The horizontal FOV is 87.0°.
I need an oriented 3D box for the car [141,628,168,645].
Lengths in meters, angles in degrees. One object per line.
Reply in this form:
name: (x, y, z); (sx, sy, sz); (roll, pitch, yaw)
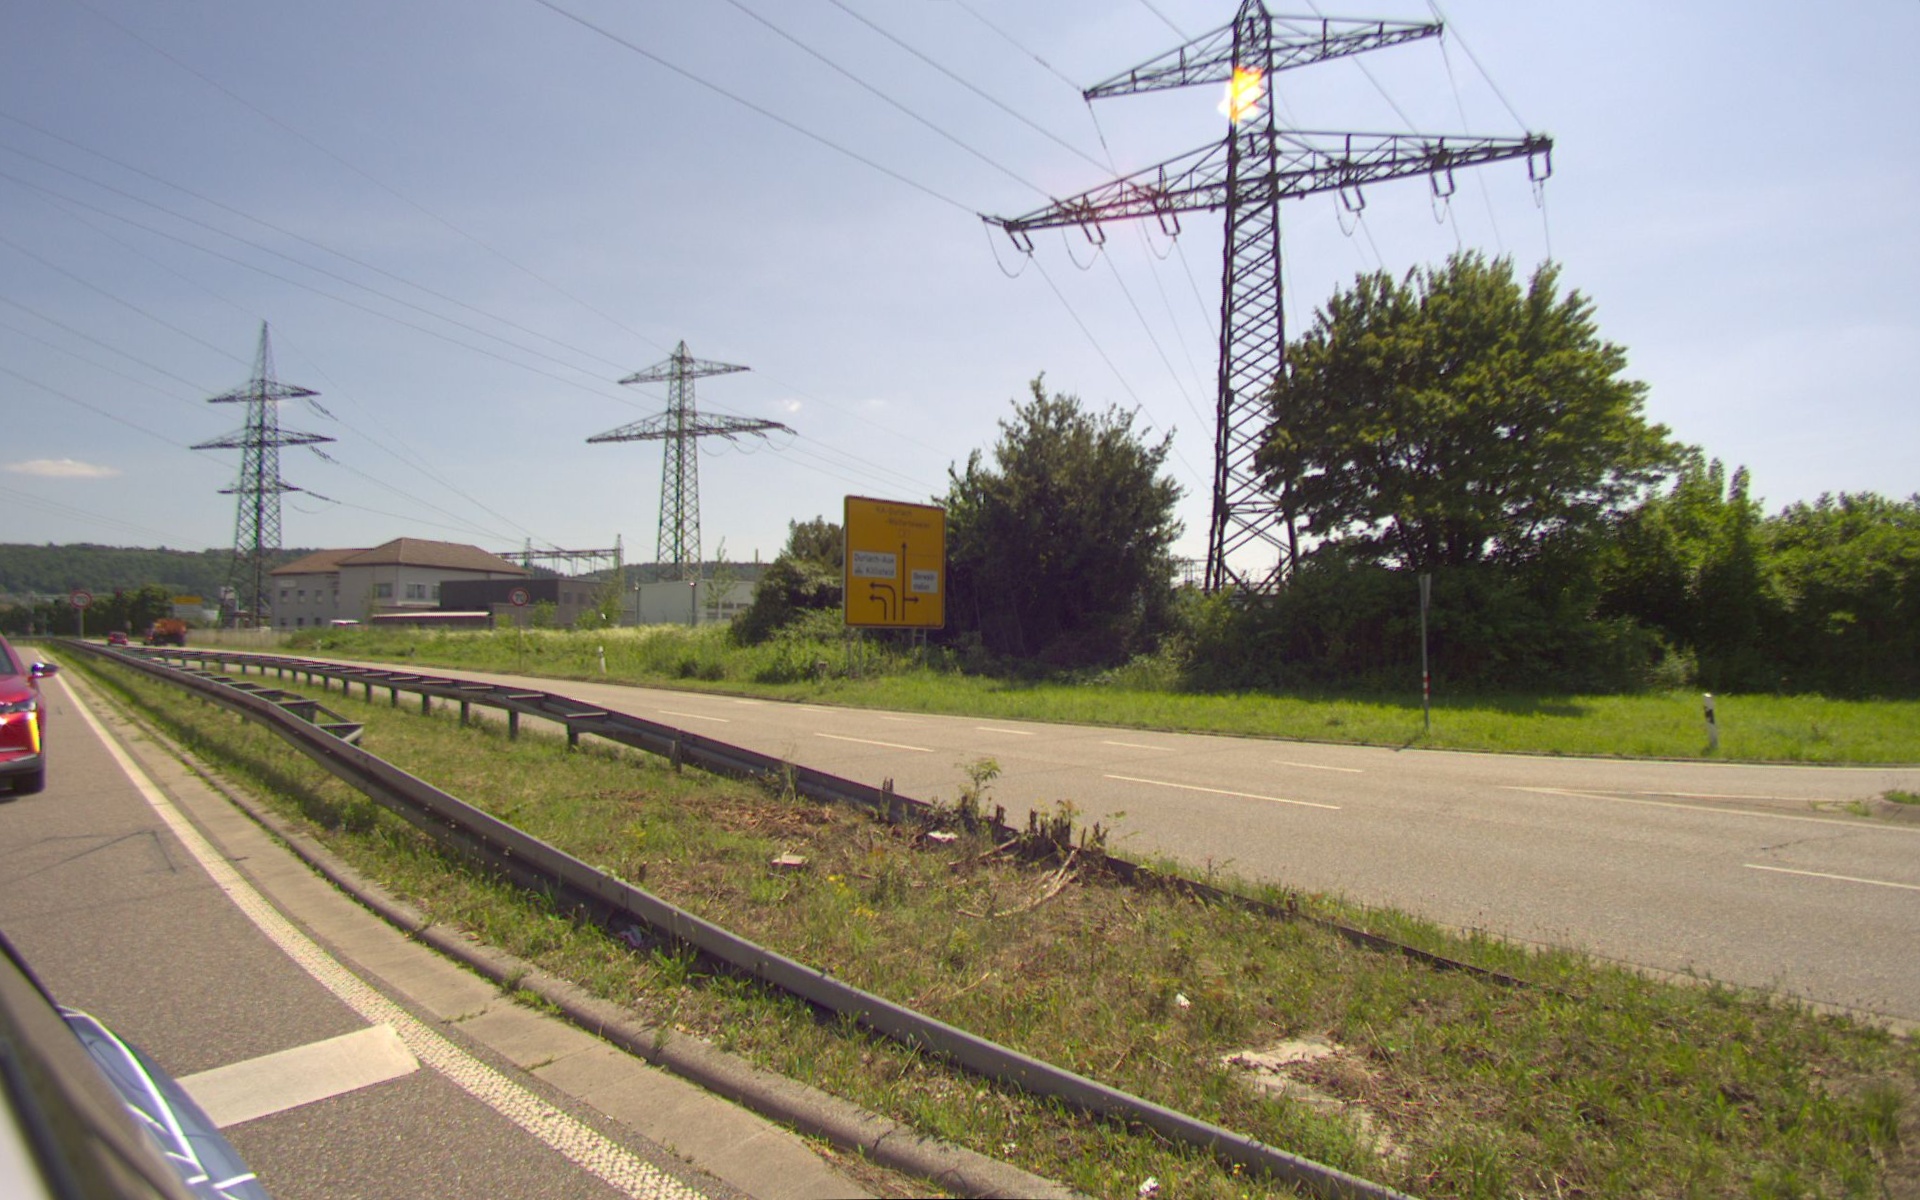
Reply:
car: (-95.365, 4.291, 119.776); (4.000, 1.929, 1.972); (-1, -1, 43)

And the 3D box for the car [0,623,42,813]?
car: (-9.438, 0.967, 9.021); (1.820, 1.473, 4.418); (0, -1, -43)

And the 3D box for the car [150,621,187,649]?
car: (-88.499, 3.940, 113.144); (2.569, 3.084, 5.643); (3, -3, -44)

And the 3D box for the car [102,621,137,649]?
car: (-94.244, 3.895, 113.475); (2.569, 3.084, 5.643); (3, -3, -44)
